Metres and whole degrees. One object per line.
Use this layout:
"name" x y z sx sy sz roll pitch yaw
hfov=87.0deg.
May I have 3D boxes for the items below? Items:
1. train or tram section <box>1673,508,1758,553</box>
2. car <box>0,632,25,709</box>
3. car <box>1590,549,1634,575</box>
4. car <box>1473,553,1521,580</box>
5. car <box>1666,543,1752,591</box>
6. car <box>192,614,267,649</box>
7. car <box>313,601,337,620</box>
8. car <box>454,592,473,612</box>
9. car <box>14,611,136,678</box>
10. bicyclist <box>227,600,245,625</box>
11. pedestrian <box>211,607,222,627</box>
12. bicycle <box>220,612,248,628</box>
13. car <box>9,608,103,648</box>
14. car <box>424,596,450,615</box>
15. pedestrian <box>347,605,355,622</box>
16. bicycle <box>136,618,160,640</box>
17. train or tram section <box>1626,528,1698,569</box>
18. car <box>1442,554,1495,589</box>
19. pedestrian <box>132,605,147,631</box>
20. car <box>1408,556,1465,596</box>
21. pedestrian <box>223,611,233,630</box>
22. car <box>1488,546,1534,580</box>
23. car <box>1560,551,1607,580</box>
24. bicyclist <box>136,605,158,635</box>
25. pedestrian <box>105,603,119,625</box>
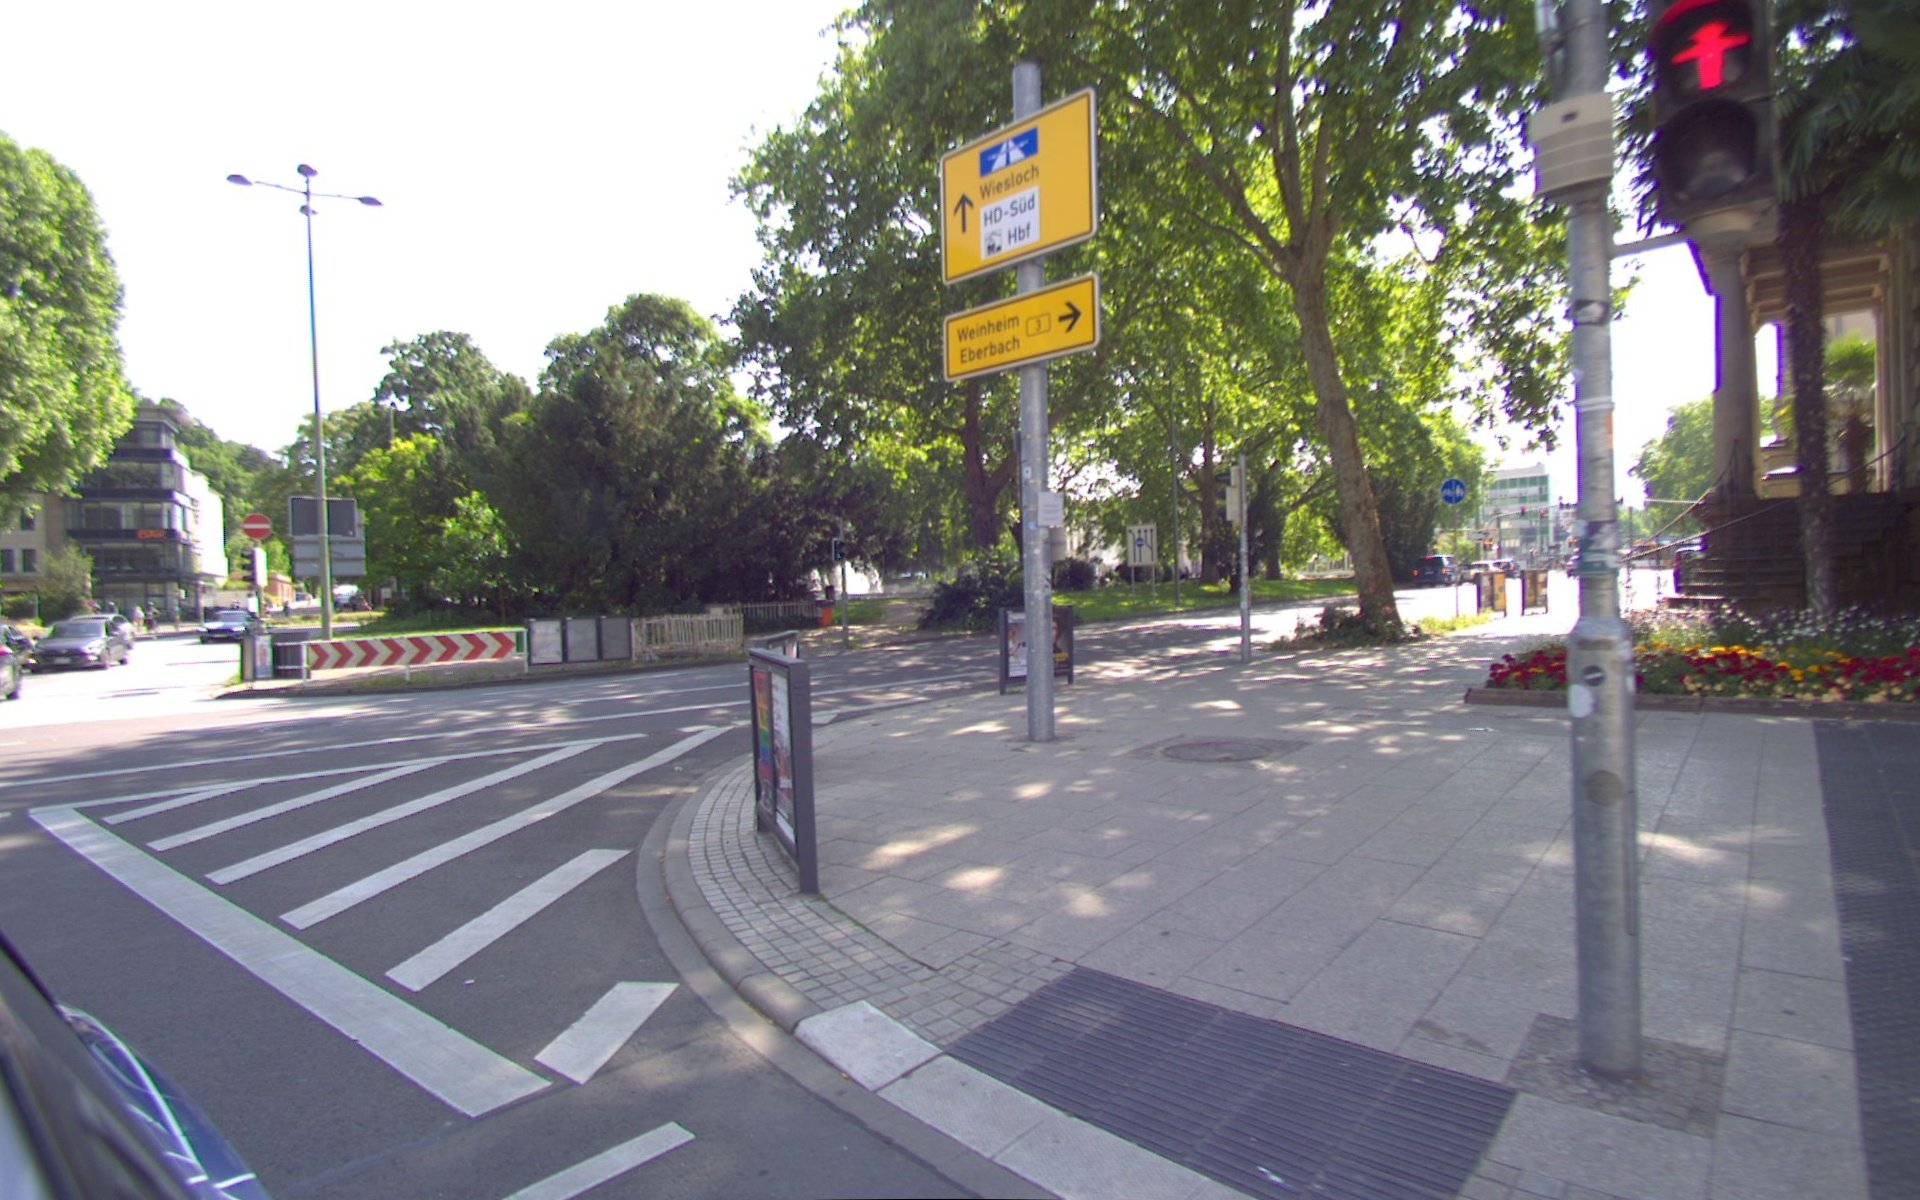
"train or tram section" 70.106 -6.380 94.047 2.116 3.711 6.300 -2 0 -14
"car" -19.091 1.357 18.880 1.781 1.462 3.964 -1 -1 -33
"car" 46.524 -2.745 72.192 1.936 1.712 4.001 -3 1 43
"car" 37.694 -2.330 70.984 1.936 1.712 4.001 -3 1 43
"car" 26.157 -1.165 35.299 1.936 1.506 4.001 -3 0 43
"car" -34.080 1.447 47.329 1.909 1.440 4.564 -2 0 -24
"car" -64.125 1.063 102.252 1.820 1.801 4.012 -2 1 -30
"car" -54.196 0.231 110.459 1.820 2.029 4.013 -2 1 -26
"car" -25.886 1.229 29.757 1.858 1.696 4.155 0 1 -29
"bicyclist" -49.339 0.851 68.974 0.699 1.625 0.734 -2 1 -12
"pedestrian" -65.403 1.454 89.058 0.592 1.717 0.606 -2 1 -24
"bicycle" -49.424 1.349 68.889 0.699 1.062 2.213 -2 1 -12
"car" -35.759 1.075 40.144 1.910 1.440 4.563 -2 0 -31
"car" -51.150 0.536 98.956 1.821 1.674 4.011 -2 1 -32
"pedestrian" -63.614 1.419 105.773 0.592 1.717 0.606 -2 0 -22
"bicycle" -45.337 1.598 56.533 0.747 1.129 2.008 -1 1 -30
"train or tram section" 69.352 -5.054 100.137 2.119 3.711 6.377 -2 0 -5
"car" 32.890 -1.849 65.442 1.936 2.096 4.001 -3 1 43
"pedestrian" -55.159 1.211 68.021 0.699 1.685 0.536 -2 1 -32
"car" 28.948 -1.478 61.436 1.936 2.184 4.001 -3 0 43
"pedestrian" -67.813 1.915 93.764 0.592 1.717 0.606 -2 0 -29
"car" 40.371 -2.707 74.159 1.936 2.351 4.001 -3 1 43
"car" 41.284 -2.284 66.967 1.851 1.748 4.001 -3 0 43
"bicyclist" -45.221 1.109 56.316 0.753 1.648 0.946 -2 1 -30
"pedestrian" -66.790 1.074 79.737 0.690 1.717 0.604 -3 1 -31
